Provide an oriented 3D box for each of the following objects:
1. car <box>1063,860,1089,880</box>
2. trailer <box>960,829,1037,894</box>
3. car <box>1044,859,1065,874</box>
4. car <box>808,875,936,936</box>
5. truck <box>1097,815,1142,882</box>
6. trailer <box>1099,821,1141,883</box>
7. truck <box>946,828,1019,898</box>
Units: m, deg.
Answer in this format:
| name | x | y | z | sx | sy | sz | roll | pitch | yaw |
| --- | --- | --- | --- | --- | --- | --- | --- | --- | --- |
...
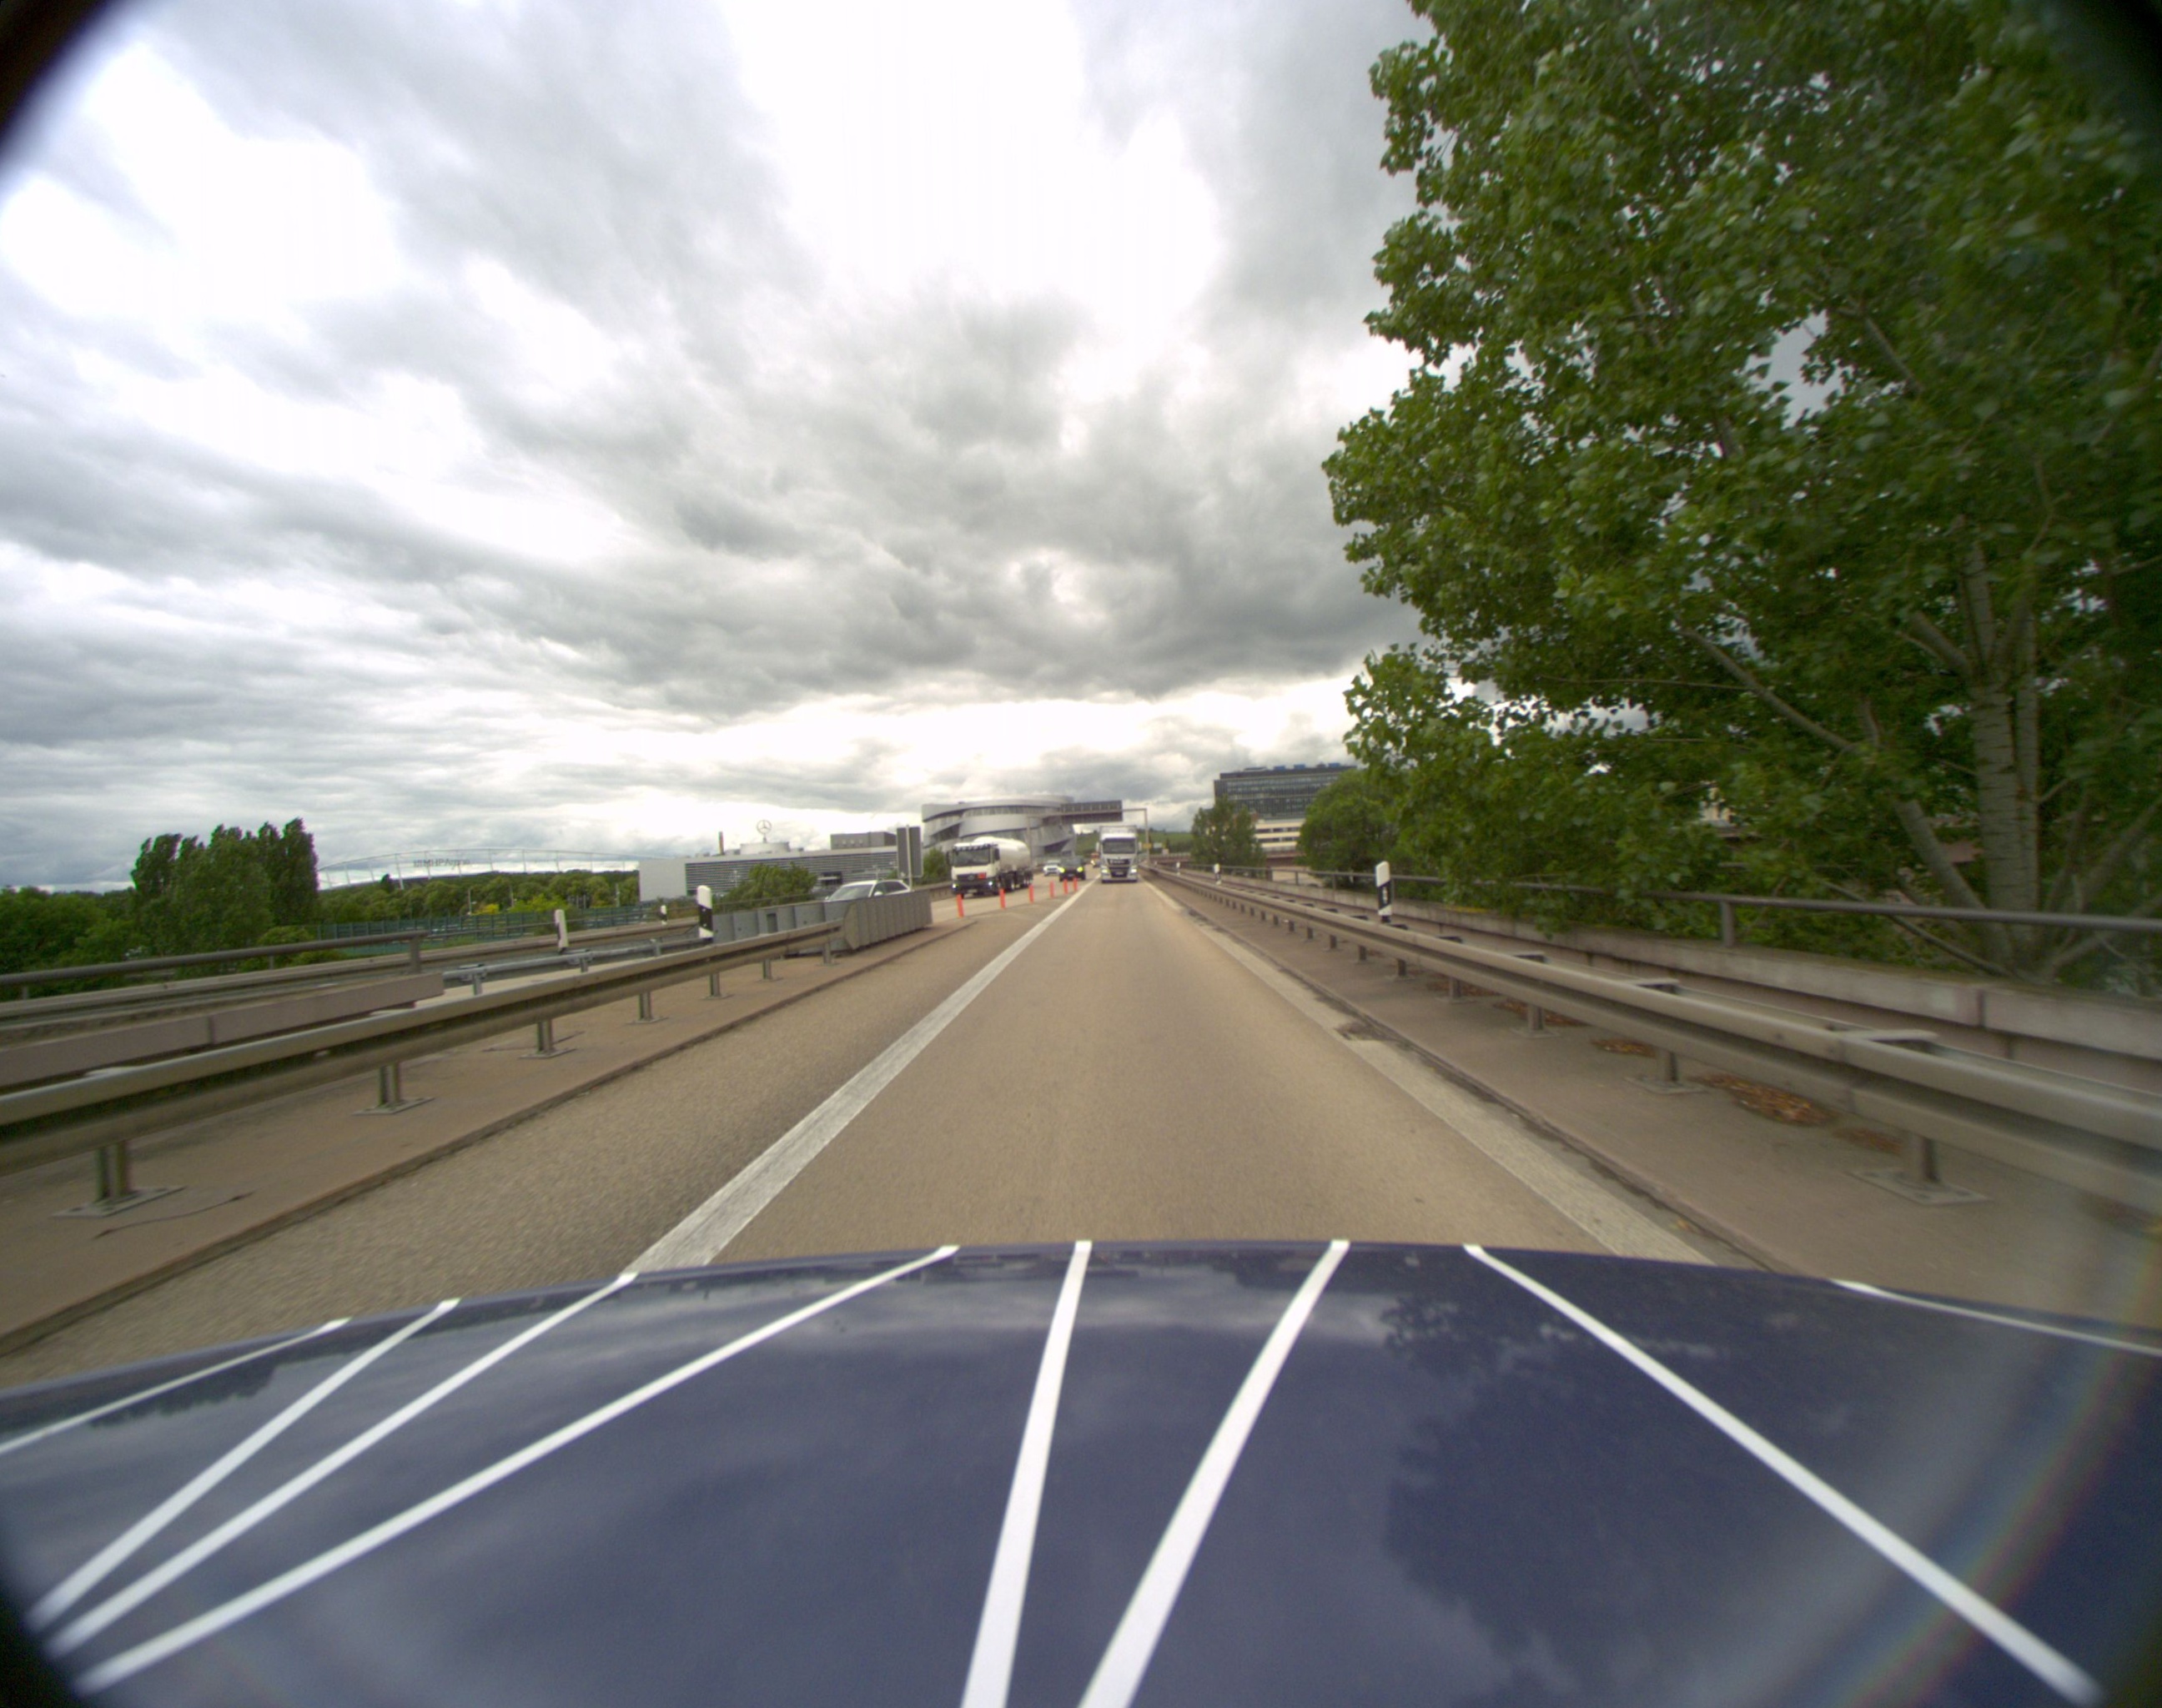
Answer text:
| name | x | y | z | sx | sy | sz | roll | pitch | yaw |
| --- | --- | --- | --- | --- | --- | --- | --- | --- | --- |
| car | -0.406 | 1.263 | 61.626 | 1.788 | 1.401 | 3.802 | -2 | 0 | 3 |
| trailer | -5.016 | 0.385 | 48.809 | 2.746 | 3.628 | 11.008 | -2 | 0 | 5 |
| car | -2.849 | 1.314 | 82.421 | 1.928 | 1.506 | 3.802 | -2 | 0 | 3 |
| car | -6.303 | 1.532 | 23.413 | 1.787 | 1.400 | 3.940 | -6 | -1 | 18 |
| truck | 2.708 | -0.380 | 52.458 | 2.734 | 4.204 | 6.202 | -2 | 1 | 4 |
| trailer | 3.176 | -0.202 | 59.204 | 2.746 | 4.213 | 13.450 | -2 | 0 | 4 |
| truck | -5.459 | 0.459 | 43.284 | 2.734 | 3.625 | 6.202 | -2 | 1 | 5 |
